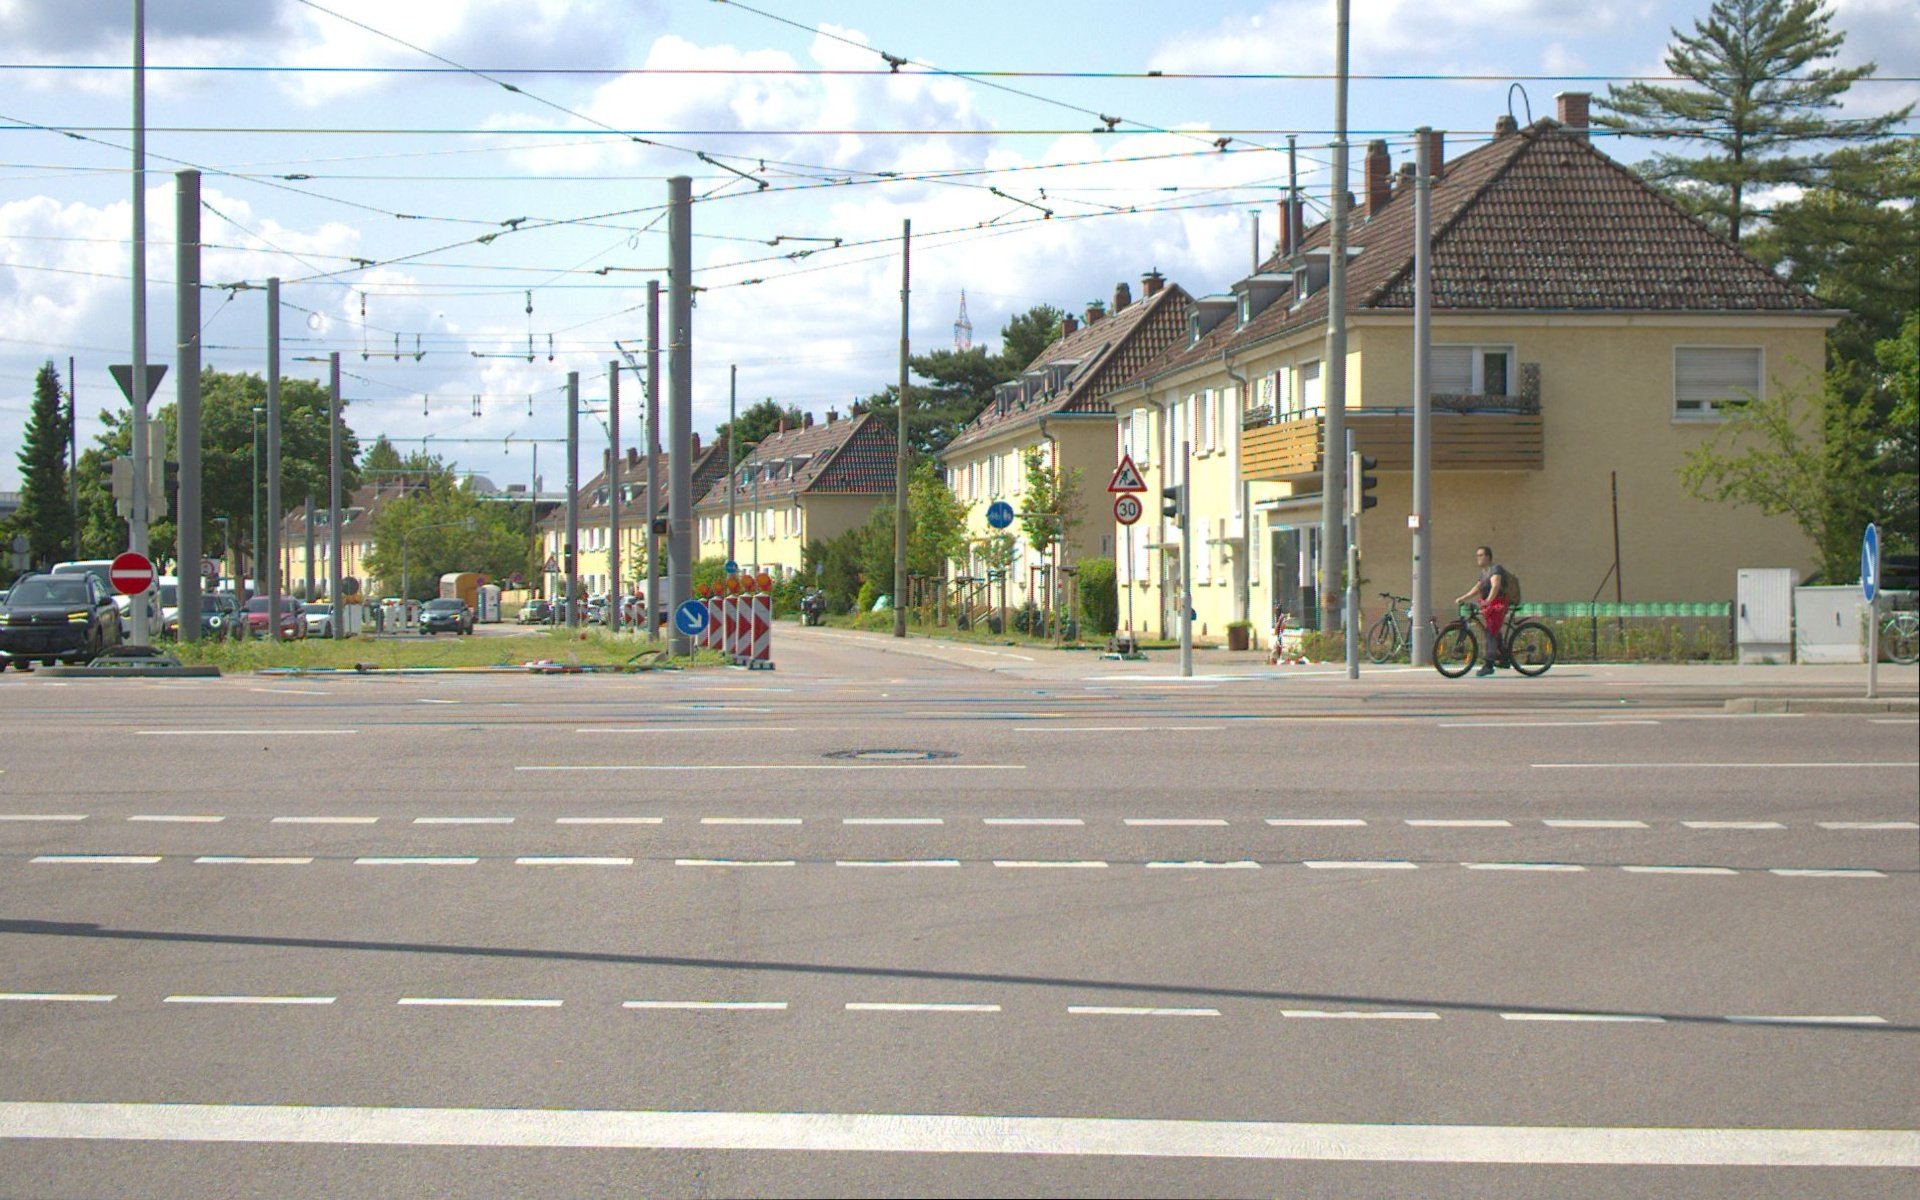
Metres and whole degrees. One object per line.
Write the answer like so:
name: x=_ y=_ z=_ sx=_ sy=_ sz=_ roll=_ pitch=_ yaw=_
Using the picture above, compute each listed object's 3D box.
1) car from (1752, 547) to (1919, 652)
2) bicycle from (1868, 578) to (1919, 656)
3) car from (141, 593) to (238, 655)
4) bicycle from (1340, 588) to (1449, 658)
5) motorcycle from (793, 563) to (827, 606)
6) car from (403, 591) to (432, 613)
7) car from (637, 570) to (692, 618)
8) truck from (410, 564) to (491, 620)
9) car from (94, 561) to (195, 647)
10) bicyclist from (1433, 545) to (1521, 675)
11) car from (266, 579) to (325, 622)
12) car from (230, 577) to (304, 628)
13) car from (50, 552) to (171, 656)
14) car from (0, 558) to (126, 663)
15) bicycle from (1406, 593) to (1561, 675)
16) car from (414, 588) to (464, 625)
car: x=14.425 y=0.016 z=55.395 sx=1.821 sy=1.615 sz=4.001 roll=0 pitch=-1 yaw=-10
bicycle: x=13.822 y=0.236 z=48.552 sx=1.806 sy=1.101 sz=0.701 roll=0 pitch=0 yaw=39
car: x=-18.074 y=0.553 z=80.795 sx=1.914 sy=1.414 sz=4.001 roll=0 pitch=0 yaw=-8
bicycle: x=6.971 y=0.360 z=55.218 sx=0.593 sy=1.093 sz=2.277 roll=0 pitch=0 yaw=-26
motorcycle: x=-5.762 y=-0.581 z=132.050 sx=1.066 sy=1.630 sz=2.084 roll=0 pitch=0 yaw=-8
car: x=-36.249 y=0.139 z=229.546 sx=1.257 sy=1.421 sz=2.666 roll=0 pitch=0 yaw=-24
car: x=-13.549 y=-0.266 z=157.276 sx=2.065 sy=2.142 sz=4.879 roll=0 pitch=0 yaw=-10
truck: x=-32.305 y=-0.502 z=217.533 sx=2.640 sy=3.482 sz=9.439 roll=0 pitch=0 yaw=-24
car: x=-17.480 y=0.088 z=73.846 sx=1.732 sy=1.776 sz=4.406 roll=-1 pitch=0 yaw=-9
bicyclist: x=7.129 y=0.135 z=47.397 sx=0.957 sy=1.769 sz=0.720 roll=0 pitch=0 yaw=-22
car: x=-24.391 y=0.018 z=126.199 sx=1.843 sy=1.556 sz=4.188 roll=0 pitch=0 yaw=-7
car: x=-20.928 y=0.065 z=103.958 sx=1.843 sy=1.489 sz=4.857 roll=0 pitch=0 yaw=-7
car: x=-16.253 y=0.059 z=65.975 sx=1.814 sy=1.915 sz=4.749 roll=0 pitch=0 yaw=-9
car: x=-15.643 y=0.148 z=59.559 sx=1.786 sy=1.715 sz=4.442 roll=0 pitch=1 yaw=-7
bicycle: x=7.221 y=0.462 z=47.440 sx=2.026 sy=1.098 sz=0.715 roll=0 pitch=0 yaw=-21
car: x=-22.456 y=0.264 z=148.308 sx=1.819 sy=1.546 sz=4.001 roll=0 pitch=1 yaw=-4
